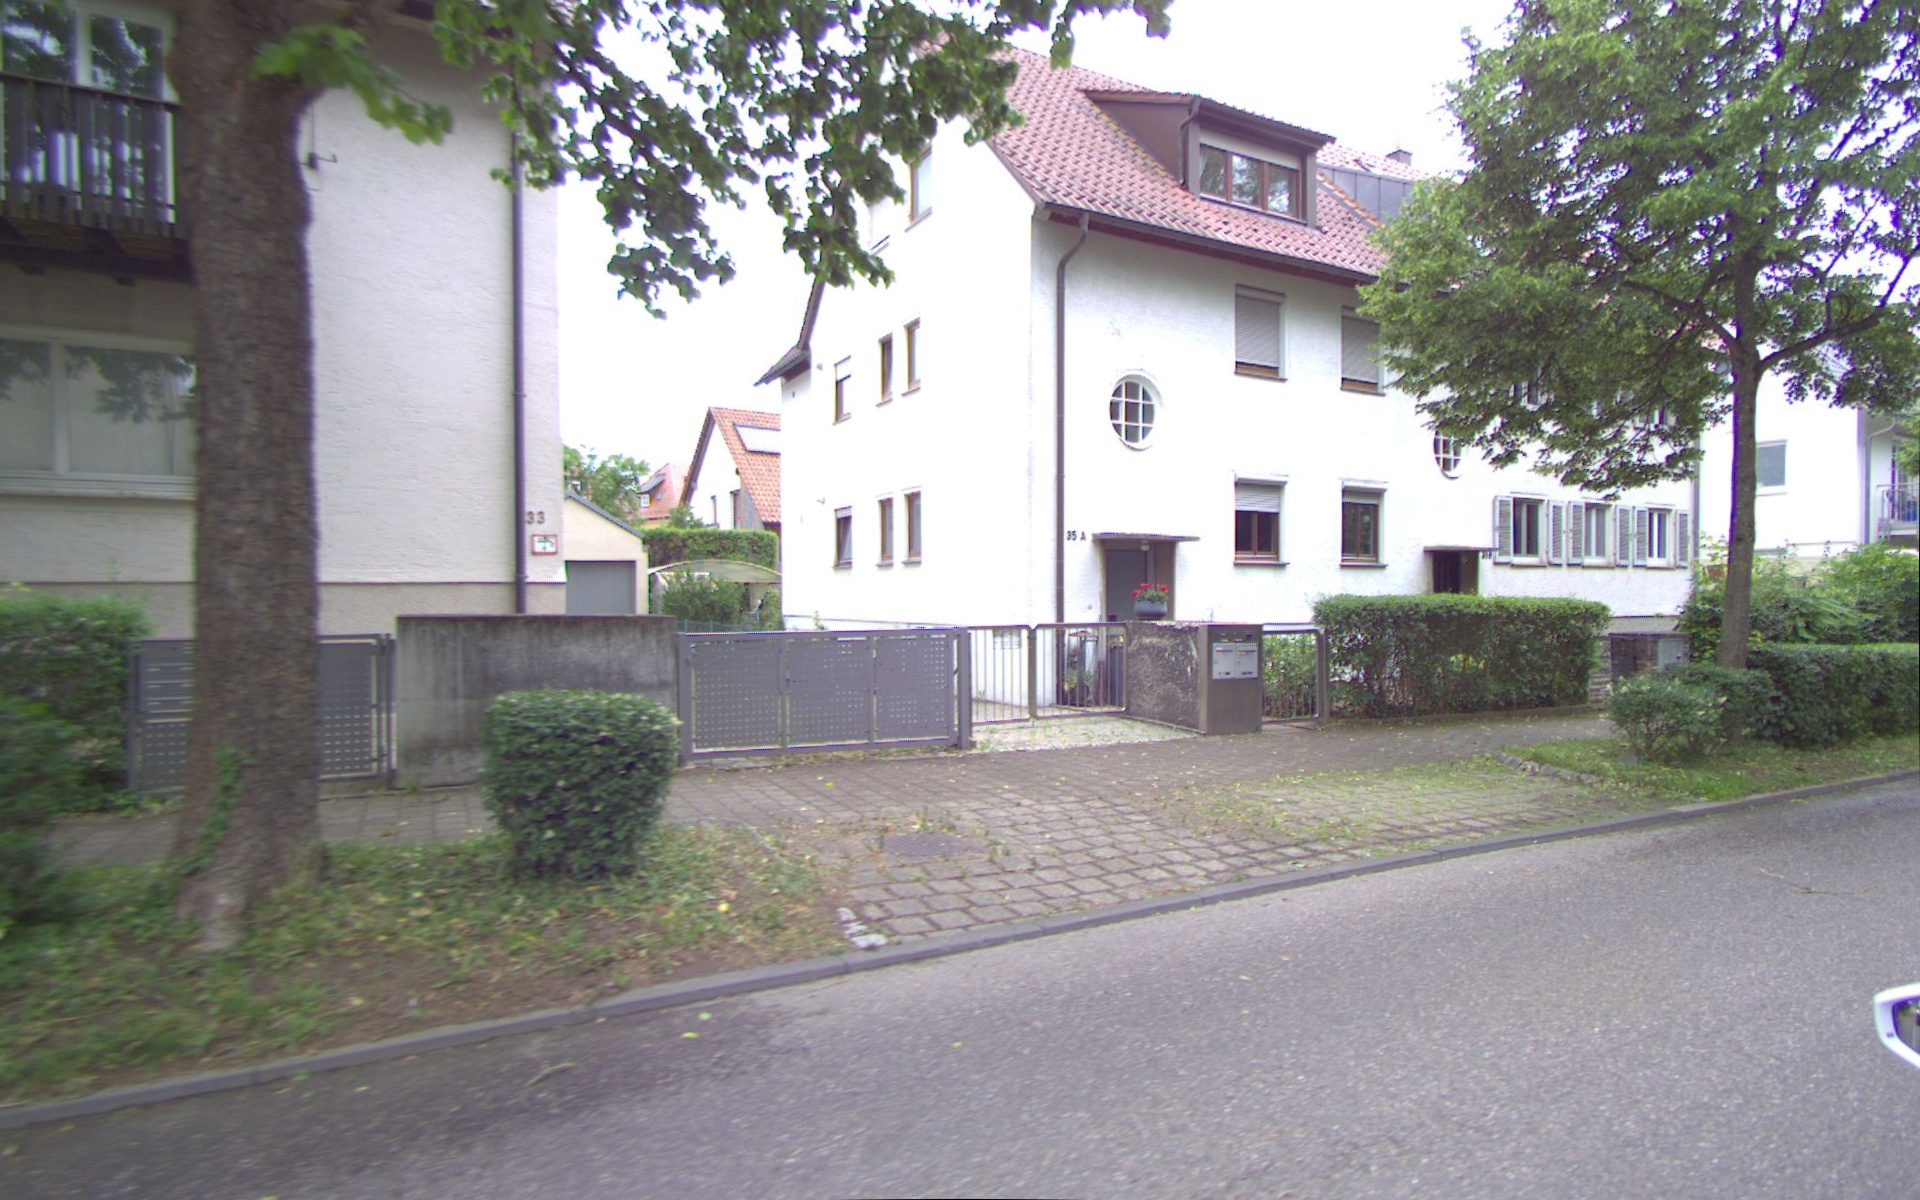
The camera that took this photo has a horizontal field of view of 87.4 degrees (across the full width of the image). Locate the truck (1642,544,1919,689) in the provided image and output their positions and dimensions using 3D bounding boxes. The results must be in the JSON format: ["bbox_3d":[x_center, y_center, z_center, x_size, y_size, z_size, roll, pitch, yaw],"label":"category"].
[{"bbox_3d":[20.725,0.362,24.955,2.488,3.173,5.769,1,0,-30],"label":"truck"}]
